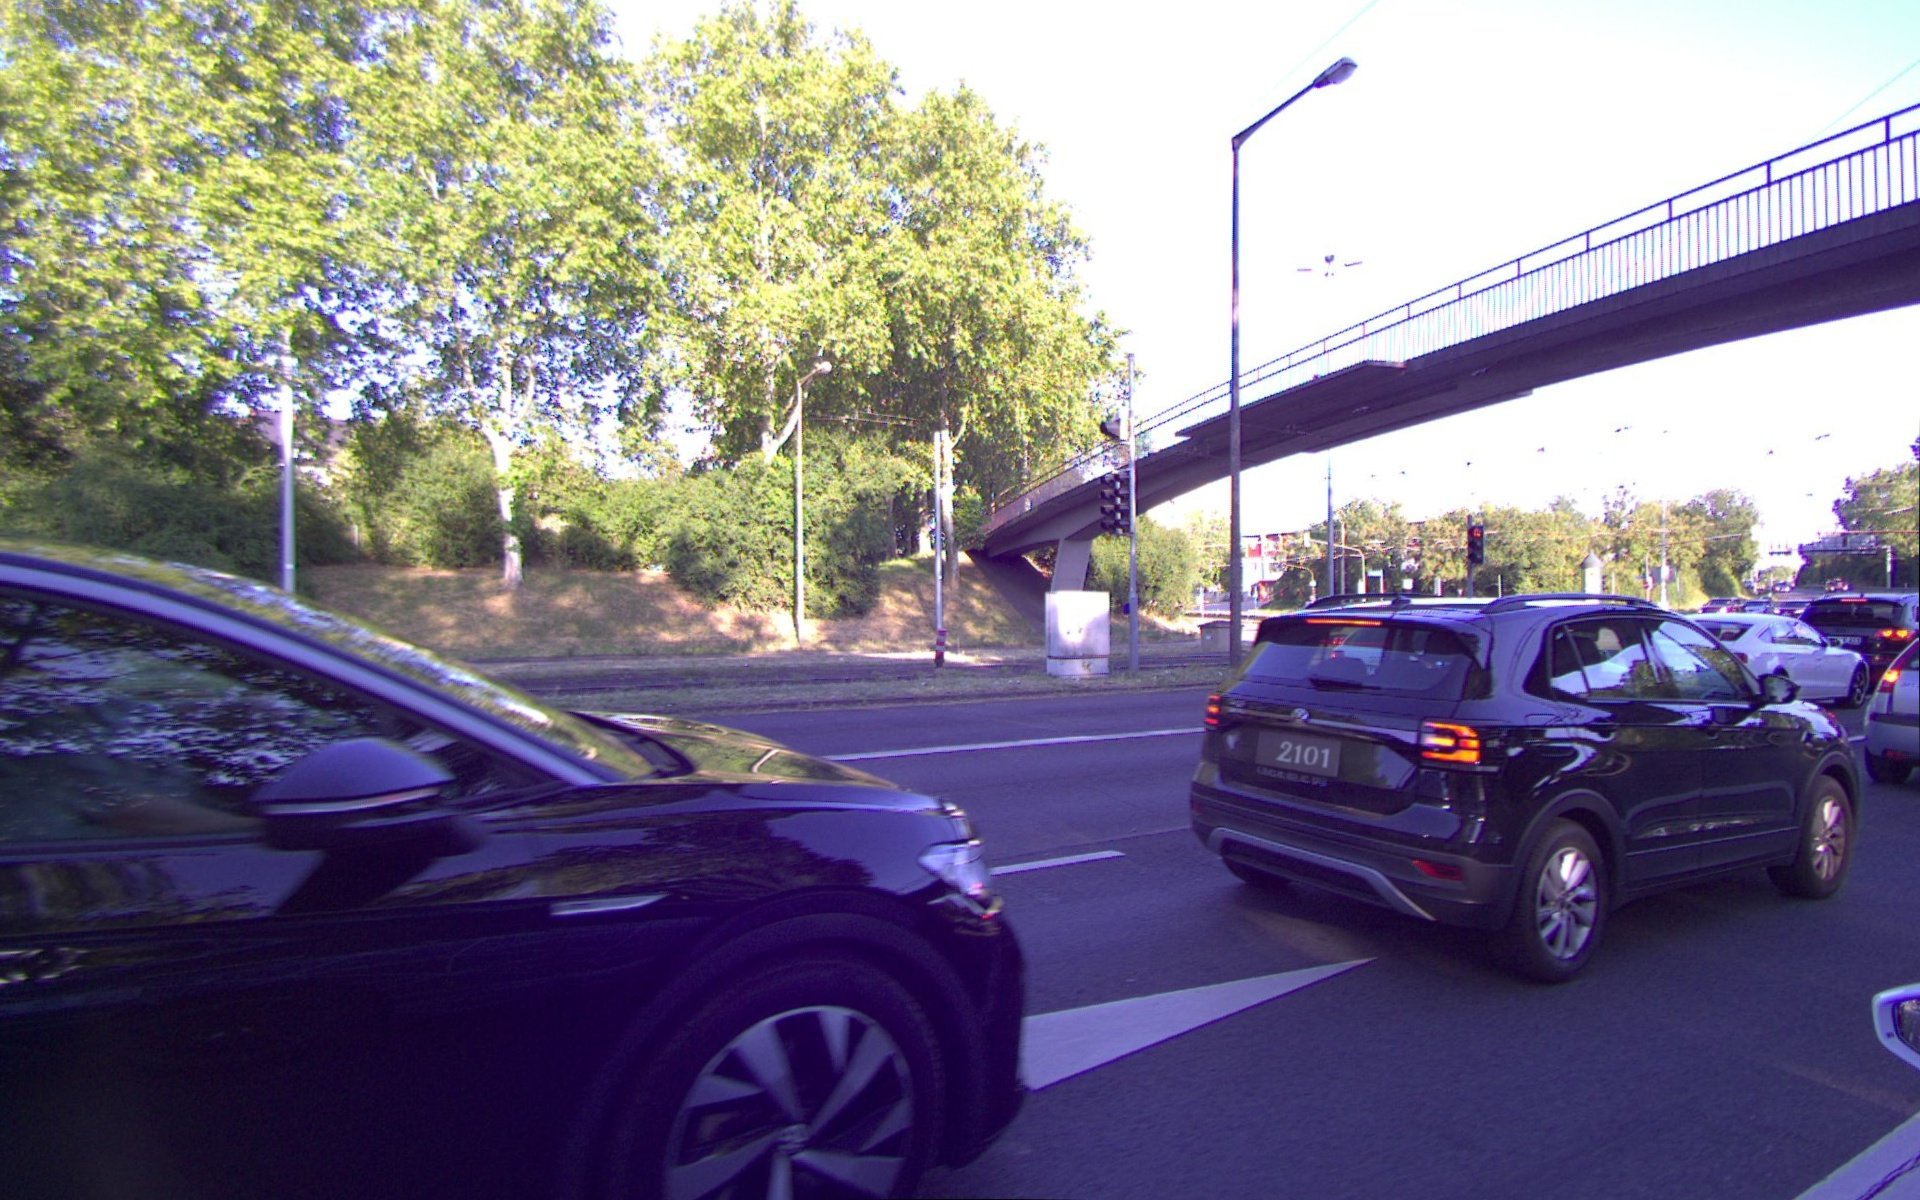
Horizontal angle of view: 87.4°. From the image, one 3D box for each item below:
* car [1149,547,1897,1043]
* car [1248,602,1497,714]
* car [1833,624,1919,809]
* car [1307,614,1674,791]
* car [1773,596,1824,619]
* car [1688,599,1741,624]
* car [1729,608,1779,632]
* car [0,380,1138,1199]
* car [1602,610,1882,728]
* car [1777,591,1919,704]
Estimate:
[{"bbox_3d":[3.132,0.729,5.421,3.954,1.773,1.783,0,-2,-32],"label":"car"},{"bbox_3d":[6.676,0.869,16.161,3.954,1.586,1.654,0,-2,-32],"label":"car"},{"bbox_3d":[9.751,0.942,8.989,3.954,1.501,1.783,0,-2,-32],"label":"car"},{"bbox_3d":[5.895,0.994,11.038,4.143,1.586,1.654,0,-2,-32],"label":"car"},{"bbox_3d":[60.212,0.521,72.132,3.635,1.596,1.868,0,1,-33],"label":"car"},{"bbox_3d":[55.639,0.820,74.032,3.956,1.795,1.868,0,1,-33],"label":"car"},{"bbox_3d":[62.052,1.530,78.492,3.956,1.795,1.868,0,1,-33],"label":"car"},{"bbox_3d":[-1.825,0.618,2.129,4.193,1.773,1.783,0,-2,-32],"label":"car"},{"bbox_3d":[11.541,0.913,14.767,4.358,1.451,1.734,0,1,-30],"label":"car"},{"bbox_3d":[16.730,0.797,18.215,4.780,1.815,1.780,0,-2,-37],"label":"car"}]
